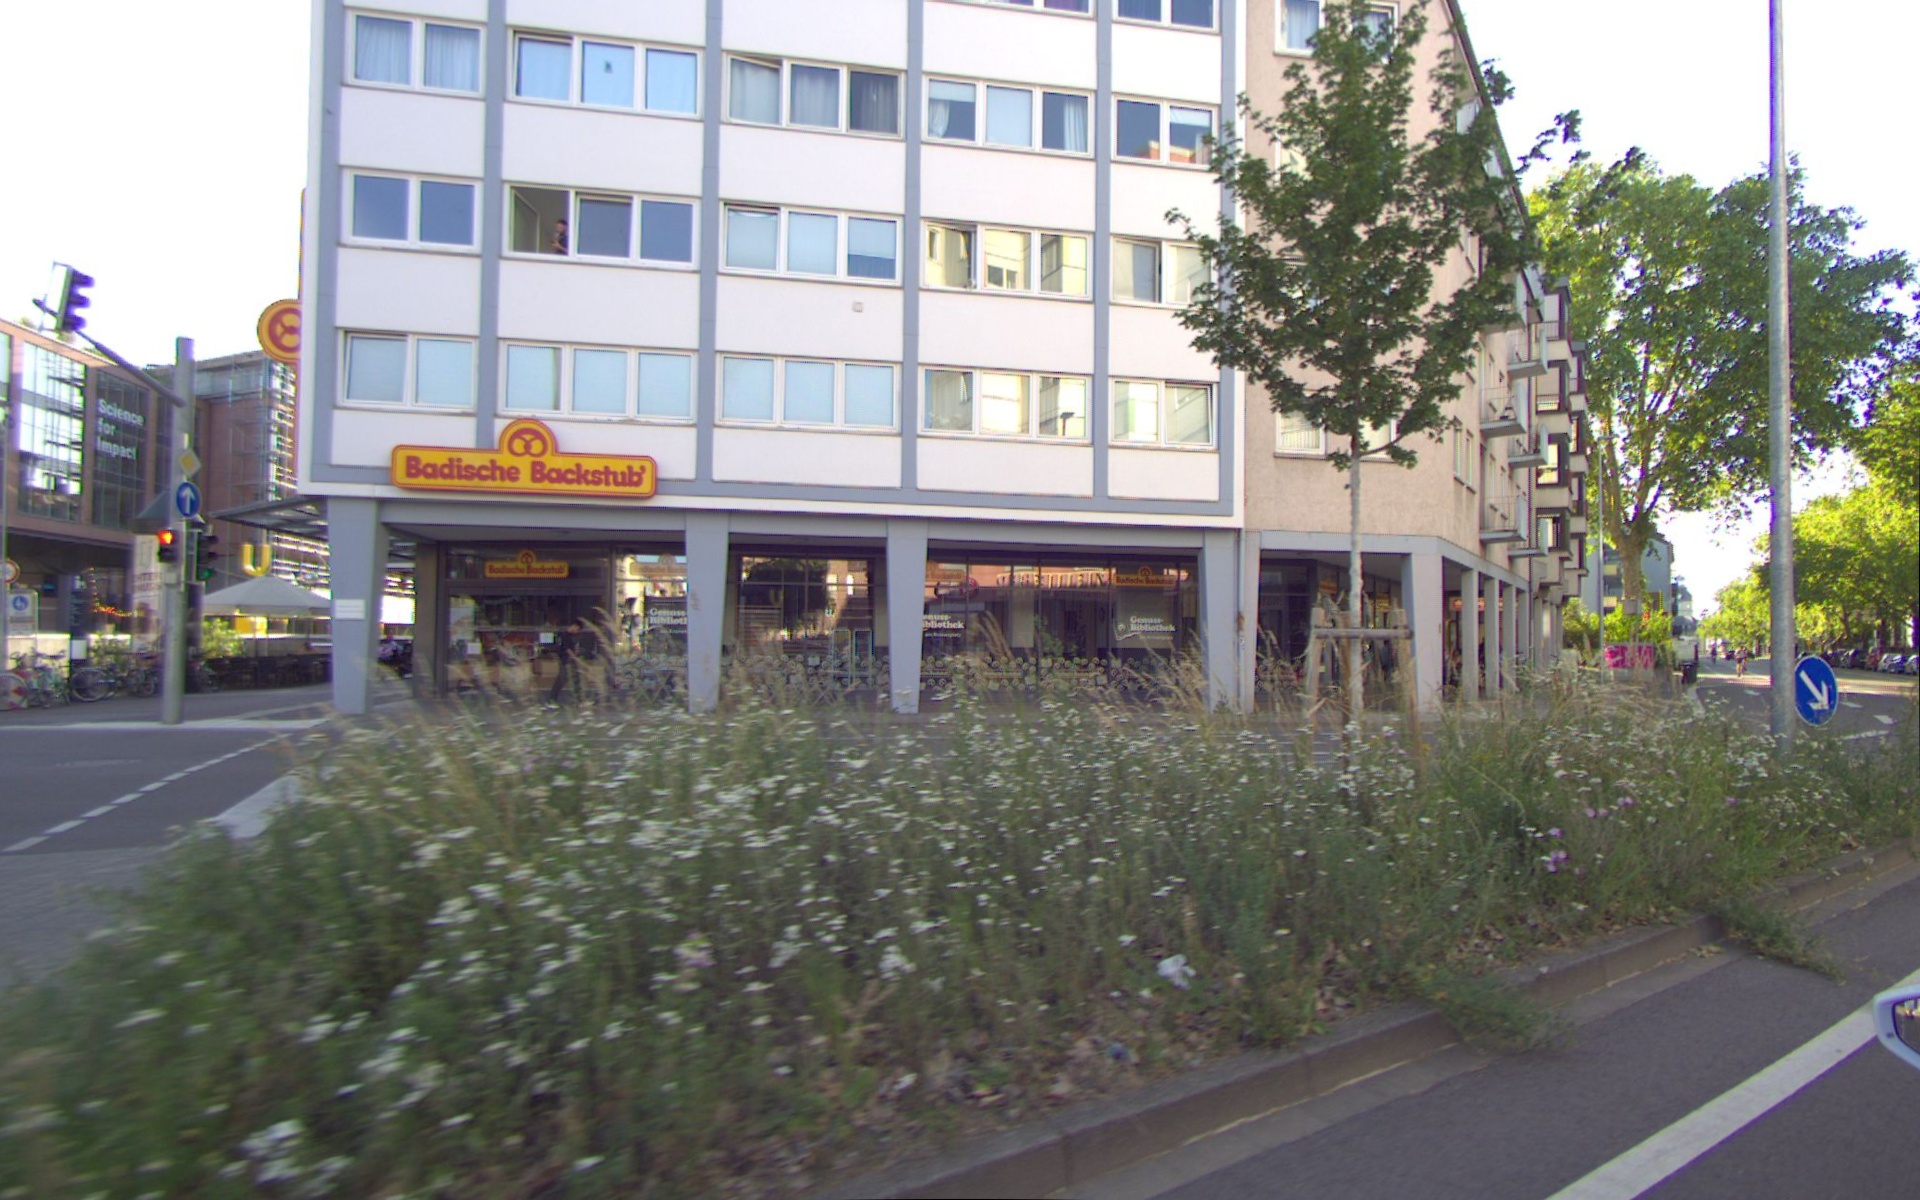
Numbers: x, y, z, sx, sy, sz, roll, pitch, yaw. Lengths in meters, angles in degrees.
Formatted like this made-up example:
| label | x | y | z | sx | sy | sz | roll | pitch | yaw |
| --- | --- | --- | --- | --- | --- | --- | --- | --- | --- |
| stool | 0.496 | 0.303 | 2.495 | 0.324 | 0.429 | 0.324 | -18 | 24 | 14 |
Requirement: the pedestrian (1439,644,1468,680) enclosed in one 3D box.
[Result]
| label | x | y | z | sx | sy | sz | roll | pitch | yaw |
| --- | --- | --- | --- | --- | --- | --- | --- | --- | --- |
| pedestrian | 17.987 | 2.231 | 36.595 | 0.821 | 1.282 | 0.851 | -1 | -2 | 37 |

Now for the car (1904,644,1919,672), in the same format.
| label | x | y | z | sx | sy | sz | roll | pitch | yaw |
| --- | --- | --- | --- | --- | --- | --- | --- | --- | --- |
| car | 62.576 | 3.742 | 64.658 | 2.006 | 1.782 | 4.081 | -2 | -3 | 35 |

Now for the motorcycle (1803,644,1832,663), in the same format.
| label | x | y | z | sx | sy | sz | roll | pitch | yaw |
| --- | --- | --- | --- | --- | --- | --- | --- | --- | --- |
| motorcycle | 56.407 | 3.489 | 66.078 | 0.959 | 1.146 | 2.799 | 0 | -2 | 31 |

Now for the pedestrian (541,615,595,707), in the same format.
| label | x | y | z | sx | sy | sz | roll | pitch | yaw |
| --- | --- | --- | --- | --- | --- | --- | --- | --- | --- |
| pedestrian | -7.594 | 1.182 | 19.493 | 0.762 | 1.746 | 0.806 | 1 | -2 | -9 |

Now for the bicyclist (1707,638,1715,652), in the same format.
| label | x | y | z | sx | sy | sz | roll | pitch | yaw |
| --- | --- | --- | --- | --- | --- | --- | --- | --- | --- |
| bicyclist | 76.975 | 4.634 | 102.949 | 0.533 | 1.412 | 0.508 | -1 | -3 | 30 |

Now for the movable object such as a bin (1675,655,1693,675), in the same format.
| label | x | y | z | sx | sy | sz | roll | pitch | yaw |
| --- | --- | --- | --- | --- | --- | --- | --- | --- | --- |
| movable object such as a bin | 34.075 | 3.062 | 47.282 | 0.677 | 0.863 | 0.577 | 1 | -1 | 36 |

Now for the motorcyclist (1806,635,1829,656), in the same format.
| label | x | y | z | sx | sy | sz | roll | pitch | yaw |
| --- | --- | --- | --- | --- | --- | --- | --- | --- | --- |
| motorcyclist | 56.394 | 2.987 | 66.061 | 0.956 | 1.365 | 1.136 | 0 | -1 | 29 |

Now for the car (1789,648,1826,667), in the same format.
| label | x | y | z | sx | sy | sz | roll | pitch | yaw |
| --- | --- | --- | --- | --- | --- | --- | --- | --- | --- |
| car | 65.999 | 4.463 | 78.246 | 1.899 | 1.407 | 3.986 | -1 | -3 | 37 |

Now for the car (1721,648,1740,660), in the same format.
| label | x | y | z | sx | sy | sz | roll | pitch | yaw |
| --- | --- | --- | --- | --- | --- | --- | --- | --- | --- |
| car | 118.063 | 8.262 | 153.923 | 2.006 | 1.765 | 4.081 | -2 | -4 | 35 |

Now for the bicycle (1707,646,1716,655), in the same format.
| label | x | y | z | sx | sy | sz | roll | pitch | yaw |
| --- | --- | --- | --- | --- | --- | --- | --- | --- | --- |
| bicycle | 76.948 | 5.174 | 102.896 | 0.533 | 0.854 | 1.602 | -1 | -2 | 30 |

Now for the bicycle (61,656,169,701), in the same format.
| label | x | y | z | sx | sy | sz | roll | pitch | yaw |
| --- | --- | --- | --- | --- | --- | --- | --- | --- | --- |
| bicycle | -20.301 | 1.874 | 24.158 | 1.968 | 1.067 | 0.596 | 0 | -2 | -6 |

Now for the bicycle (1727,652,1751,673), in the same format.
| label | x | y | z | sx | sy | sz | roll | pitch | yaw |
| --- | --- | --- | --- | --- | --- | --- | --- | --- | --- |
| bicycle | 43.929 | 3.510 | 56.654 | 0.804 | 1.154 | 2.334 | -1 | -3 | 31 |

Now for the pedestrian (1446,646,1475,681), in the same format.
| label | x | y | z | sx | sy | sz | roll | pitch | yaw |
| --- | --- | --- | --- | --- | --- | --- | --- | --- | --- |
| pedestrian | 18.626 | 2.359 | 37.352 | 0.821 | 1.282 | 0.851 | -1 | -3 | 37 |

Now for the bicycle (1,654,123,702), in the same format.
| label | x | y | z | sx | sy | sz | roll | pitch | yaw |
| --- | --- | --- | --- | --- | --- | --- | --- | --- | --- |
| bicycle | -20.573 | 1.766 | 23.046 | 1.975 | 1.067 | 0.594 | 1 | -2 | -19 |

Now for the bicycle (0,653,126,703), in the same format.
| label | x | y | z | sx | sy | sz | roll | pitch | yaw |
| --- | --- | --- | --- | --- | --- | --- | --- | --- | --- |
| bicycle | -19.767 | 1.700 | 22.159 | 1.981 | 1.067 | 0.592 | 1 | -3 | -28 |

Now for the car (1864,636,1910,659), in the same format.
| label | x | y | z | sx | sy | sz | roll | pitch | yaw |
| --- | --- | --- | --- | --- | --- | --- | --- | --- | --- |
| car | 71.014 | 3.627 | 76.977 | 2.006 | 1.742 | 4.081 | -1 | -2 | 35 |

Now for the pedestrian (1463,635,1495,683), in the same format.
| label | x | y | z | sx | sy | sz | roll | pitch | yaw |
| --- | --- | --- | --- | --- | --- | --- | --- | --- | --- |
| pedestrian | 19.559 | 2.218 | 37.822 | 0.848 | 1.746 | 0.825 | 3 | -3 | -41 |

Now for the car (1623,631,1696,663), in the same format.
| label | x | y | z | sx | sy | sz | roll | pitch | yaw |
| --- | --- | --- | --- | --- | --- | --- | --- | --- | --- |
| car | 51.345 | 3.467 | 73.827 | 4.244 | 2.255 | 1.995 | -2 | -3 | 33 |

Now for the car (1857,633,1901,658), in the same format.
| label | x | y | z | sx | sy | sz | roll | pitch | yaw |
| --- | --- | --- | --- | --- | --- | --- | --- | --- | --- |
| car | 73.586 | 3.632 | 80.486 | 2.006 | 1.959 | 4.081 | -1 | -2 | 35 |

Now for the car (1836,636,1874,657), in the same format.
| label | x | y | z | sx | sy | sz | roll | pitch | yaw |
| --- | --- | --- | --- | --- | --- | --- | --- | --- | --- |
| car | 80.117 | 4.133 | 89.973 | 2.006 | 1.765 | 4.081 | -1 | -2 | 35 |

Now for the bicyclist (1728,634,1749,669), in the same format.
| label | x | y | z | sx | sy | sz | roll | pitch | yaw |
| --- | --- | --- | --- | --- | --- | --- | --- | --- | --- |
| bicyclist | 43.919 | 2.887 | 56.663 | 0.804 | 1.973 | 0.856 | -1 | -3 | 31 |

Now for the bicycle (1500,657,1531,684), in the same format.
| label | x | y | z | sx | sy | sz | roll | pitch | yaw |
| --- | --- | --- | --- | --- | --- | --- | --- | --- | --- |
| bicycle | 18.853 | 2.374 | 34.073 | 0.626 | 0.896 | 1.610 | -2 | -4 | 38 |

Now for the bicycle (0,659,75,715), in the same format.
| label | x | y | z | sx | sy | sz | roll | pitch | yaw |
| --- | --- | --- | --- | --- | --- | --- | --- | --- | --- |
| bicycle | -18.957 | 1.721 | 19.944 | 1.986 | 1.067 | 0.591 | 2 | -3 | -36 |

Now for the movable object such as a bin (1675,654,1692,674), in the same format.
| label | x | y | z | sx | sy | sz | roll | pitch | yaw |
| --- | --- | --- | --- | --- | --- | --- | --- | --- | --- |
| movable object such as a bin | 34.414 | 3.042 | 47.782 | 0.677 | 0.919 | 0.577 | 1 | -1 | 36 |

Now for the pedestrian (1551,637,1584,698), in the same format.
| label | x | y | z | sx | sy | sz | roll | pitch | yaw |
| --- | --- | --- | --- | --- | --- | --- | --- | --- | --- |
| pedestrian | 17.613 | 1.941 | 29.119 | 0.794 | 1.746 | 0.774 | -1 | -2 | 32 |

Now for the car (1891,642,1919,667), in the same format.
| label | x | y | z | sx | sy | sz | roll | pitch | yaw |
| --- | --- | --- | --- | --- | --- | --- | --- | --- | --- |
| car | 66.231 | 3.775 | 69.568 | 2.006 | 1.741 | 4.081 | -2 | -3 | 35 |

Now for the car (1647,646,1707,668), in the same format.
| label | x | y | z | sx | sy | sz | roll | pitch | yaw |
| --- | --- | --- | --- | --- | --- | --- | --- | --- | --- |
| car | 58.520 | 4.643 | 82.064 | 3.933 | 1.765 | 1.995 | -2 | -3 | 34 |
